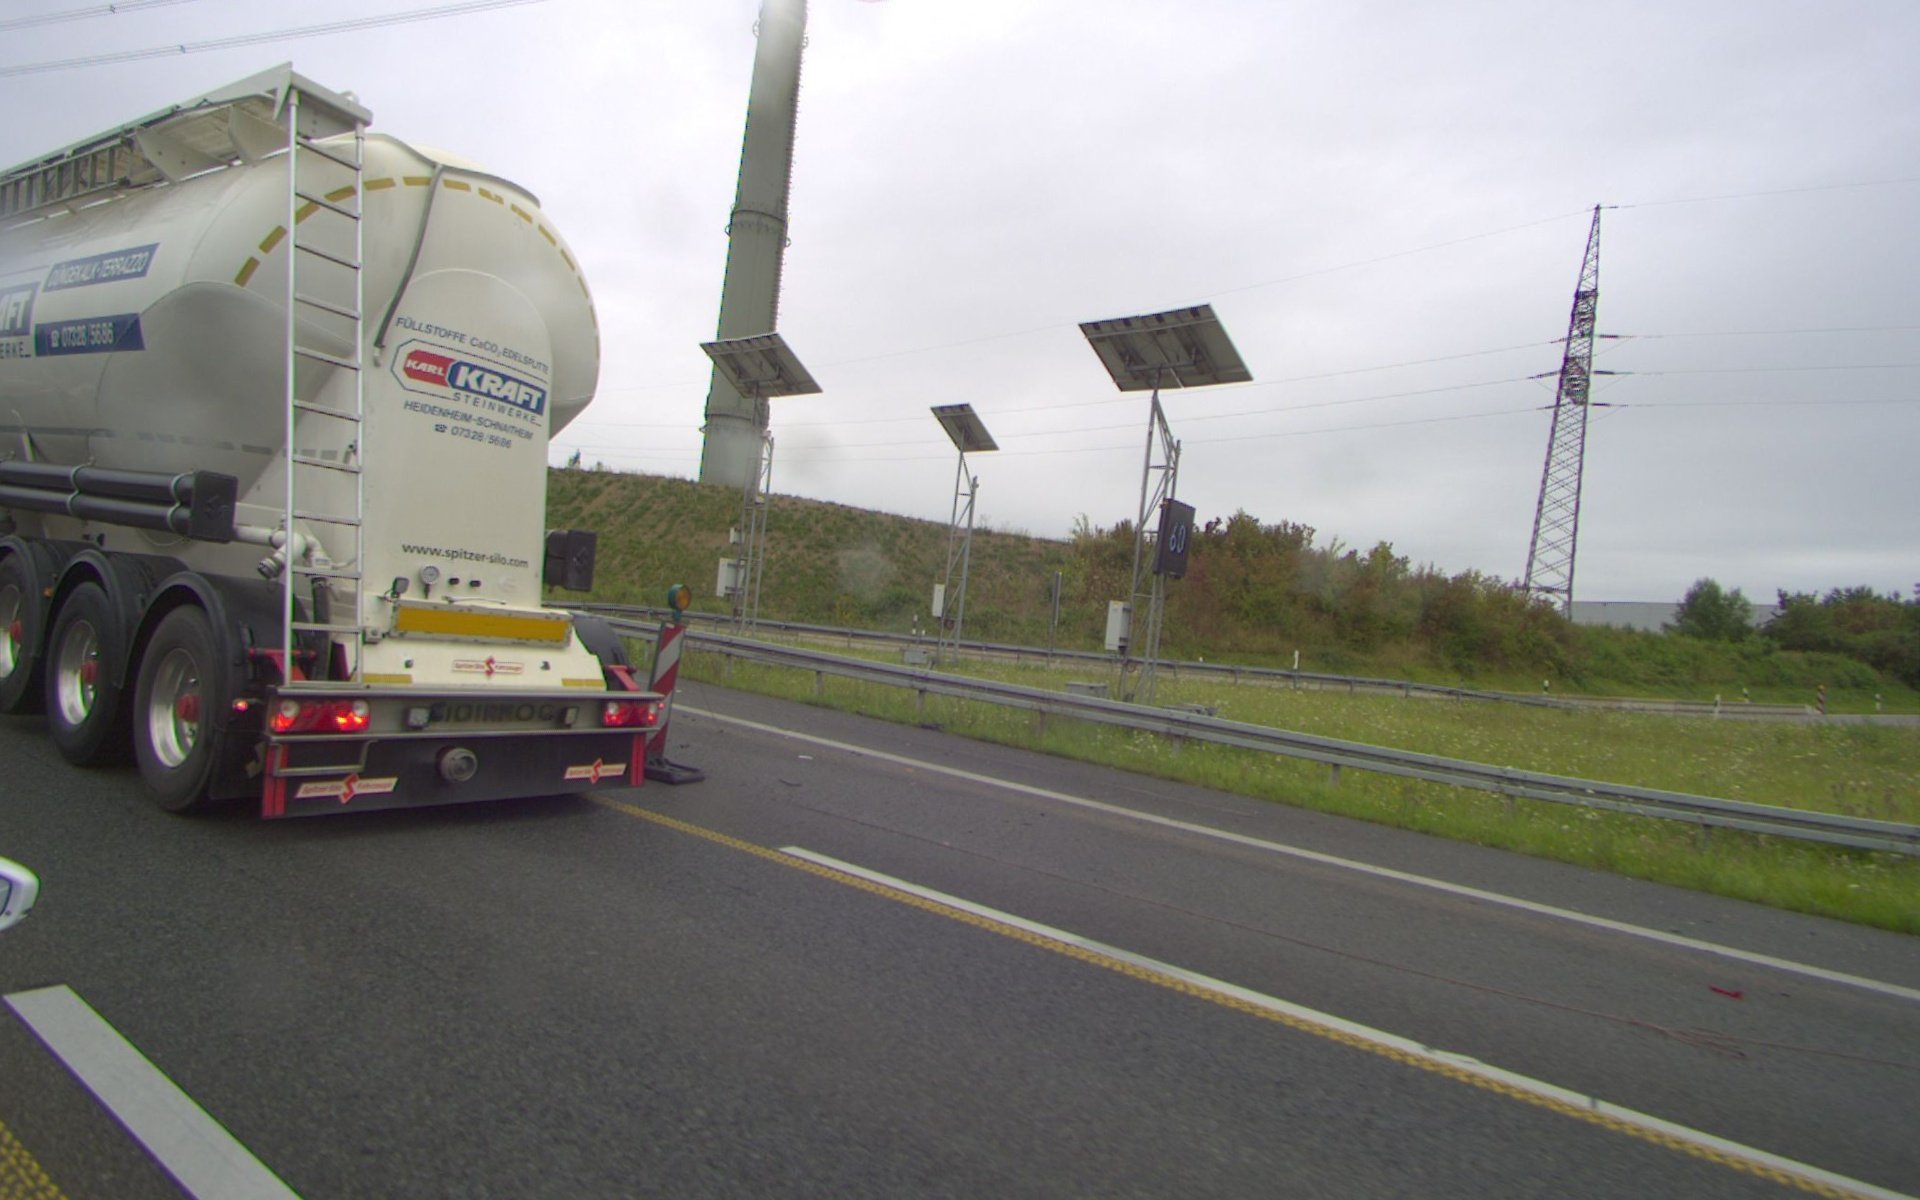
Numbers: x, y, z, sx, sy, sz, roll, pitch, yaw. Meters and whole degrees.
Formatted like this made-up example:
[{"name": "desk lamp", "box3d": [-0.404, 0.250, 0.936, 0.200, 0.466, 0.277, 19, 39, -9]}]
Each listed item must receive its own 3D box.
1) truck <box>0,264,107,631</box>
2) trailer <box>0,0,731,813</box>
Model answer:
[{"name": "truck", "box3d": [-12.611, -1.919, 11.817, 3.935, 3.993, 2.552, 6, -1, 32]}, {"name": "trailer", "box3d": [-7.505, -1.398, 8.717, 12.147, 3.878, 2.524, 6, -1, 32]}]
